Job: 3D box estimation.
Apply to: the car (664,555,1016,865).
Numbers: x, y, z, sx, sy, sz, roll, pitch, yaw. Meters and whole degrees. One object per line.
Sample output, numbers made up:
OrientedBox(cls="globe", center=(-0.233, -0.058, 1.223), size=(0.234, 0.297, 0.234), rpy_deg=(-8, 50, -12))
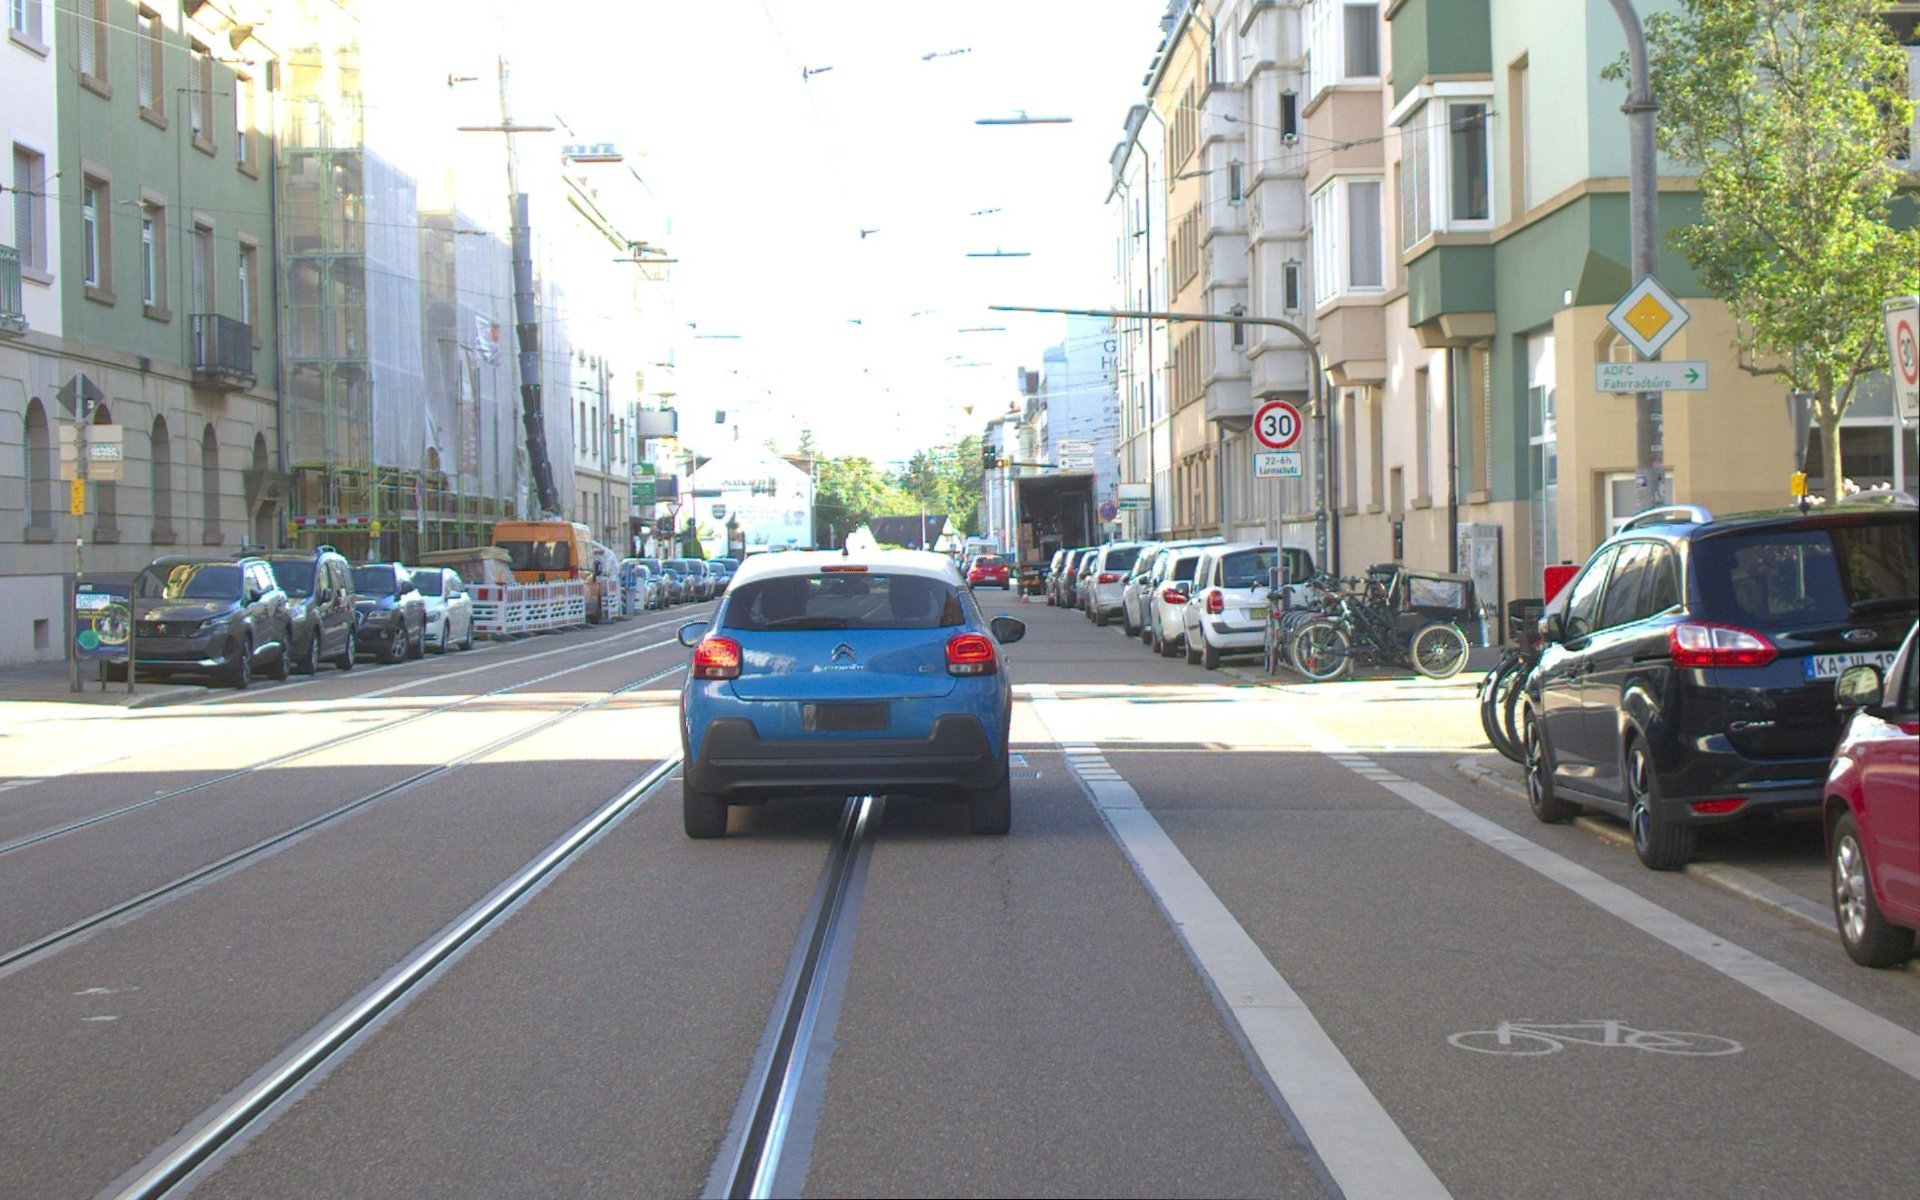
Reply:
OrientedBox(cls="car", center=(-0.596, 0.519, 19.011), size=(1.735, 1.502, 3.992), rpy_deg=(0, 1, 0))

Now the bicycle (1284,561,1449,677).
OrientedBox(cls="bicycle", center=(4.592, 0.211, 38.877), size=(1.722, 1.150, 0.469), rpy_deg=(-5, 1, 1))

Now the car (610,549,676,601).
OrientedBox(cls="car", center=(-10.356, -0.838, 112.579), size=(1.714, 1.588, 4.267), rpy_deg=(-2, 1, 0))

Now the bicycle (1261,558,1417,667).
OrientedBox(cls="bicycle", center=(4.553, 0.149, 41.352), size=(1.722, 1.150, 0.469), rpy_deg=(-5, 1, 1))

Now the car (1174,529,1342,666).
OrientedBox(cls="car", center=(3.813, -0.067, 44.539), size=(1.783, 1.626, 4.000), rpy_deg=(-2, 1, 0))

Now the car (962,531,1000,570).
OrientedBox(cls="car", center=(1.264, -3.005, 208.102), size=(2.220, 2.276, 4.084), rpy_deg=(-2, 1, 0))

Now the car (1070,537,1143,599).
OrientedBox(cls="car", center=(3.781, -0.839, 89.137), size=(1.664, 1.514, 4.222), rpy_deg=(-2, 1, 0))

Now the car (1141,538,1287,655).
OrientedBox(cls="car", center=(3.675, -0.087, 50.357), size=(1.783, 1.570, 4.326), rpy_deg=(-2, 1, 0))

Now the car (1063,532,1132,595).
OrientedBox(cls="car", center=(3.729, -1.015, 93.980), size=(1.664, 1.641, 4.222), rpy_deg=(-2, 1, 0))

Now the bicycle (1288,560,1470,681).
OrientedBox(cls="bicycle", center=(4.581, 0.224, 37.639), size=(1.843, 1.150, 0.469), rpy_deg=(-5, 1, 1))

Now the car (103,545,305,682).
OrientedBox(cls="car", center=(-9.821, 0.132, 44.956), size=(1.783, 1.684, 4.668), rpy_deg=(0, 1, -2))

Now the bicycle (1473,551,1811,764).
OrientedBox(cls="bicycle", center=(4.265, 0.352, 21.554), size=(1.959, 1.223, 0.527), rpy_deg=(-3, 1, 0))

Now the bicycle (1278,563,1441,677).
OrientedBox(cls="bicycle", center=(4.575, 0.227, 39.425), size=(1.722, 1.150, 0.469), rpy_deg=(-5, 1, 1))

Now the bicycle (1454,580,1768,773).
OrientedBox(cls="bicycle", center=(4.285, 0.498, 22.697), size=(1.923, 1.157, 0.527), rpy_deg=(-3, 1, 0))

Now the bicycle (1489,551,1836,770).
OrientedBox(cls="bicycle", center=(4.275, 0.361, 20.982), size=(1.959, 1.223, 0.527), rpy_deg=(-3, 1, 0))

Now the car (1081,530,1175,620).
OrientedBox(cls="car", center=(3.574, -0.567, 73.879), size=(1.730, 1.821, 4.686), rpy_deg=(-2, 1, 0))

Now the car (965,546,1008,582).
OrientedBox(cls="car", center=(1.146, -1.563, 148.944), size=(1.765, 1.481, 4.032), rpy_deg=(-2, 1, 0))

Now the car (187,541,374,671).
OrientedBox(cls="car", center=(-9.873, 0.044, 50.255), size=(1.783, 1.810, 4.528), rpy_deg=(0, 1, 1))

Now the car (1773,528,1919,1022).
OrientedBox(cls="car", center=(3.966, 0.547, 11.233), size=(1.753, 1.588, 3.730), rpy_deg=(-2, 1, 1))

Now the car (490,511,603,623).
OrientedBox(cls="car", center=(-9.531, -0.787, 79.568), size=(2.144, 2.467, 4.981), rpy_deg=(-1, 1, -2))

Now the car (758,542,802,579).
OrientedBox(cls="car", center=(-8.521, -1.881, 162.905), size=(1.826, 1.626, 4.045), rpy_deg=(-2, 1, 0))

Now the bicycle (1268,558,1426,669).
OrientedBox(cls="bicycle", center=(4.579, 0.159, 40.725), size=(1.722, 1.150, 0.469), rpy_deg=(-5, 1, 1))

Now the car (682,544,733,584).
OrientedBox(cls="car", center=(-10.734, -1.558, 146.310), size=(1.826, 1.626, 3.905), rpy_deg=(-2, 1, 0))

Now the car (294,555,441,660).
OrientedBox(cls="car", center=(-9.667, 0.083, 56.367), size=(1.783, 1.621, 4.610), rpy_deg=(0, 1, -2))

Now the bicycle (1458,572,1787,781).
OrientedBox(cls="bicycle", center=(4.251, 0.483, 22.117), size=(1.959, 1.223, 0.527), rpy_deg=(-3, 1, 0))

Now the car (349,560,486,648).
OrientedBox(cls="car", center=(-9.797, 0.052, 62.379), size=(1.718, 1.497, 4.388), rpy_deg=(0, 1, 1))

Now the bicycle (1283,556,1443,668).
OrientedBox(cls="bicycle", center=(4.693, 0.137, 40.103), size=(1.722, 1.150, 0.469), rpy_deg=(-5, 1, 1))

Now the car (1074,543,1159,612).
OrientedBox(cls="car", center=(3.599, -0.545, 79.670), size=(1.722, 1.481, 4.222), rpy_deg=(-2, 1, 0))

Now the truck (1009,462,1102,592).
OrientedBox(cls="truck", center=(3.149, -2.447, 115.685), size=(2.853, 4.069, 11.271), rpy_deg=(-2, 1, 1))

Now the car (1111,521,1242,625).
OrientedBox(cls="car", center=(3.843, -0.502, 61.758), size=(1.654, 1.746, 4.604), rpy_deg=(-2, 1, -4))

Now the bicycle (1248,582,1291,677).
OrientedBox(cls="bicycle", center=(3.585, 0.330, 39.910), size=(0.353, 1.041, 1.728), rpy_deg=(-2, 1, 1))

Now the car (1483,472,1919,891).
OrientedBox(cls="car", center=(3.920, 0.300, 17.343), size=(1.753, 1.730, 4.507), rpy_deg=(-5, 1, 0))

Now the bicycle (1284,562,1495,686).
OrientedBox(cls="bicycle", center=(4.606, 0.251, 36.960), size=(2.086, 1.150, 0.848), rpy_deg=(-4, 1, 1))

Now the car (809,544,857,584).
OrientedBox(cls="car", center=(-5.408, -1.571, 147.109), size=(1.826, 1.626, 4.490), rpy_deg=(-2, 1, 0))

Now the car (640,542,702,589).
OrientedBox(cls="car", center=(-10.595, -1.276, 126.237), size=(1.826, 1.626, 4.849), rpy_deg=(-2, 1, 0))
